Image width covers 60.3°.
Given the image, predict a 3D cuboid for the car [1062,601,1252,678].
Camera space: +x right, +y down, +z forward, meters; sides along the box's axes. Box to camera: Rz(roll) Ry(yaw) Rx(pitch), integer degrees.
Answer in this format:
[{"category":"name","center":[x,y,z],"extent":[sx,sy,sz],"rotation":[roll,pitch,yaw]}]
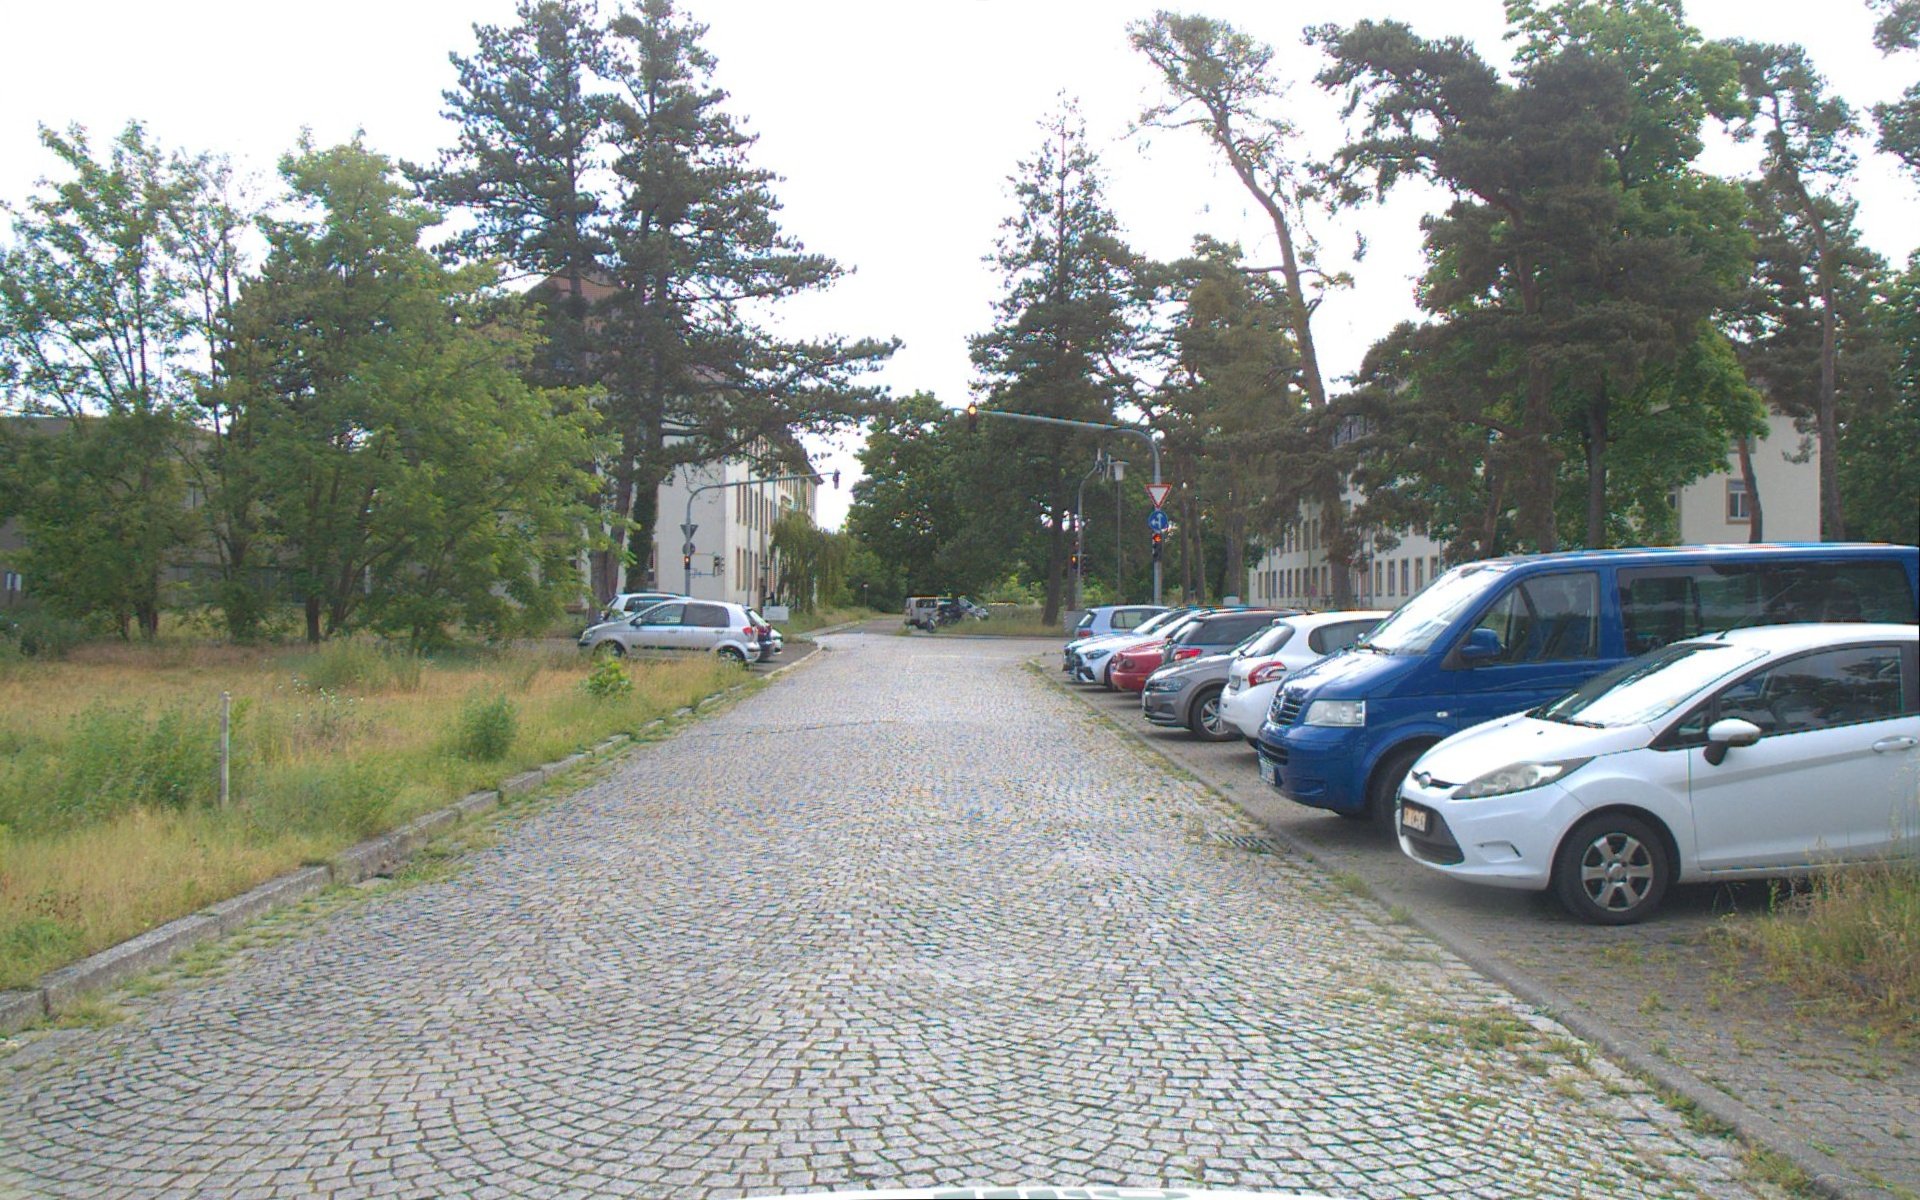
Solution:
[{"category":"car","center":[4.174,0.818,35.426],"extent":[3.846,1.503,1.642],"rotation":[-2,0,0]}]

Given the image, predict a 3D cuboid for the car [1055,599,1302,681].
[{"category":"car","center":[4.297,0.768,32.977],"extent":[4.588,1.441,1.870],"rotation":[-2,0,-4]}]

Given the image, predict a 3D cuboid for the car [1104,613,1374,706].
[{"category":"car","center":[4.214,0.889,25.379],"extent":[3.785,1.258,1.757],"rotation":[-2,0,-3]}]

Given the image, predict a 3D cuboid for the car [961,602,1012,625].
[{"category":"car","center":[1.695,0.870,106.178],"extent":[3.168,1.441,1.724],"rotation":[0,0,-4]}]

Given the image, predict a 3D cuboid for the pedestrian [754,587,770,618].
[{"category":"pedestrian","center":[-11.921,0.143,99.619],"extent":[0.766,1.870,0.732],"rotation":[0,0,-33]}]

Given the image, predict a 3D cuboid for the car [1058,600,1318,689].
[{"category":"car","center":[4.142,0.784,30.286],"extent":[4.342,1.441,1.866],"rotation":[-2,0,-10]}]

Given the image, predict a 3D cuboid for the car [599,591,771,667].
[{"category":"car","center":[-6.559,0.677,39.732],"extent":[3.870,1.590,1.649],"rotation":[3,0,-4]}]

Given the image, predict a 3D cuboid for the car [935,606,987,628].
[{"category":"car","center":[0.038,1.004,98.892],"extent":[2.948,1.290,1.533],"rotation":[0,0,-7]}]

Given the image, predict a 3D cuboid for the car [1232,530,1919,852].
[{"category":"car","center":[4.509,0.581,11.860],"extent":[4.711,1.980,2.002],"rotation":[-2,0,-3]}]

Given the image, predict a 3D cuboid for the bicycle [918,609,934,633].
[{"category":"bicycle","center":[-1.666,1.038,80.931],"extent":[0.591,1.152,1.958],"rotation":[0,0,-7]}]

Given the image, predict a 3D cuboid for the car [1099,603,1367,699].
[{"category":"car","center":[4.553,0.833,28.028],"extent":[4.176,1.441,1.870],"rotation":[-2,0,-2]}]

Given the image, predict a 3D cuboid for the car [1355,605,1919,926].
[{"category":"car","center":[4.355,0.824,9.262],"extent":[3.785,1.498,1.840],"rotation":[-2,0,-3]}]

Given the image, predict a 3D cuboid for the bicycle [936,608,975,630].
[{"category":"bicycle","center":[-0.232,0.979,84.797],"extent":[1.918,1.136,0.587],"rotation":[0,0,-8]}]

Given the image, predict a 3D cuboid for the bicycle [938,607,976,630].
[{"category":"bicycle","center":[-0.157,0.953,84.165],"extent":[1.918,1.152,0.587],"rotation":[0,0,-8]}]

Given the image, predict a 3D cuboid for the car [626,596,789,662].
[{"category":"car","center":[-6.417,0.727,42.278],"extent":[3.868,1.446,1.649],"rotation":[3,0,-2]}]

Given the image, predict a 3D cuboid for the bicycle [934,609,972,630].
[{"category":"bicycle","center":[-0.366,1.007,86.273],"extent":[1.935,1.088,0.582],"rotation":[0,0,-31]}]

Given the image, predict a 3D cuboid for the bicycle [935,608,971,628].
[{"category":"bicycle","center":[-0.403,1.010,91.312],"extent":[1.931,1.088,0.583],"rotation":[0,0,-26]}]

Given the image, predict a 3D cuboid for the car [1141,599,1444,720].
[{"category":"car","center":[4.538,0.786,22.916],"extent":[3.785,1.498,1.757],"rotation":[-2,0,-3]}]

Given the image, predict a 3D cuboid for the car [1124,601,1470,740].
[{"category":"car","center":[4.006,0.812,20.060],"extent":[3.785,1.498,1.757],"rotation":[-2,0,-3]}]

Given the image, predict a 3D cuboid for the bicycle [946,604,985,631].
[{"category":"bicycle","center":[0.281,0.902,85.641],"extent":[1.918,1.408,0.587],"rotation":[0,0,-8]}]

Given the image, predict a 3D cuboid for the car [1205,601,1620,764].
[{"category":"car","center":[4.612,0.810,17.211],"extent":[3.785,1.498,1.757],"rotation":[-2,0,-3]}]

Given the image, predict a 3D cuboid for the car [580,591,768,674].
[{"category":"car","center":[-5.884,0.674,34.372],"extent":[3.630,1.505,1.581],"rotation":[3,0,-4]}]

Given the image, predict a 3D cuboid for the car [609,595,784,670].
[{"category":"car","center":[-5.843,0.719,36.971],"extent":[3.672,1.453,1.581],"rotation":[3,0,-4]}]

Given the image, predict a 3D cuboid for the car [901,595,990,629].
[{"category":"car","center":[-0.901,0.730,102.234],"extent":[5.264,1.958,2.020],"rotation":[-1,0,-10]}]
